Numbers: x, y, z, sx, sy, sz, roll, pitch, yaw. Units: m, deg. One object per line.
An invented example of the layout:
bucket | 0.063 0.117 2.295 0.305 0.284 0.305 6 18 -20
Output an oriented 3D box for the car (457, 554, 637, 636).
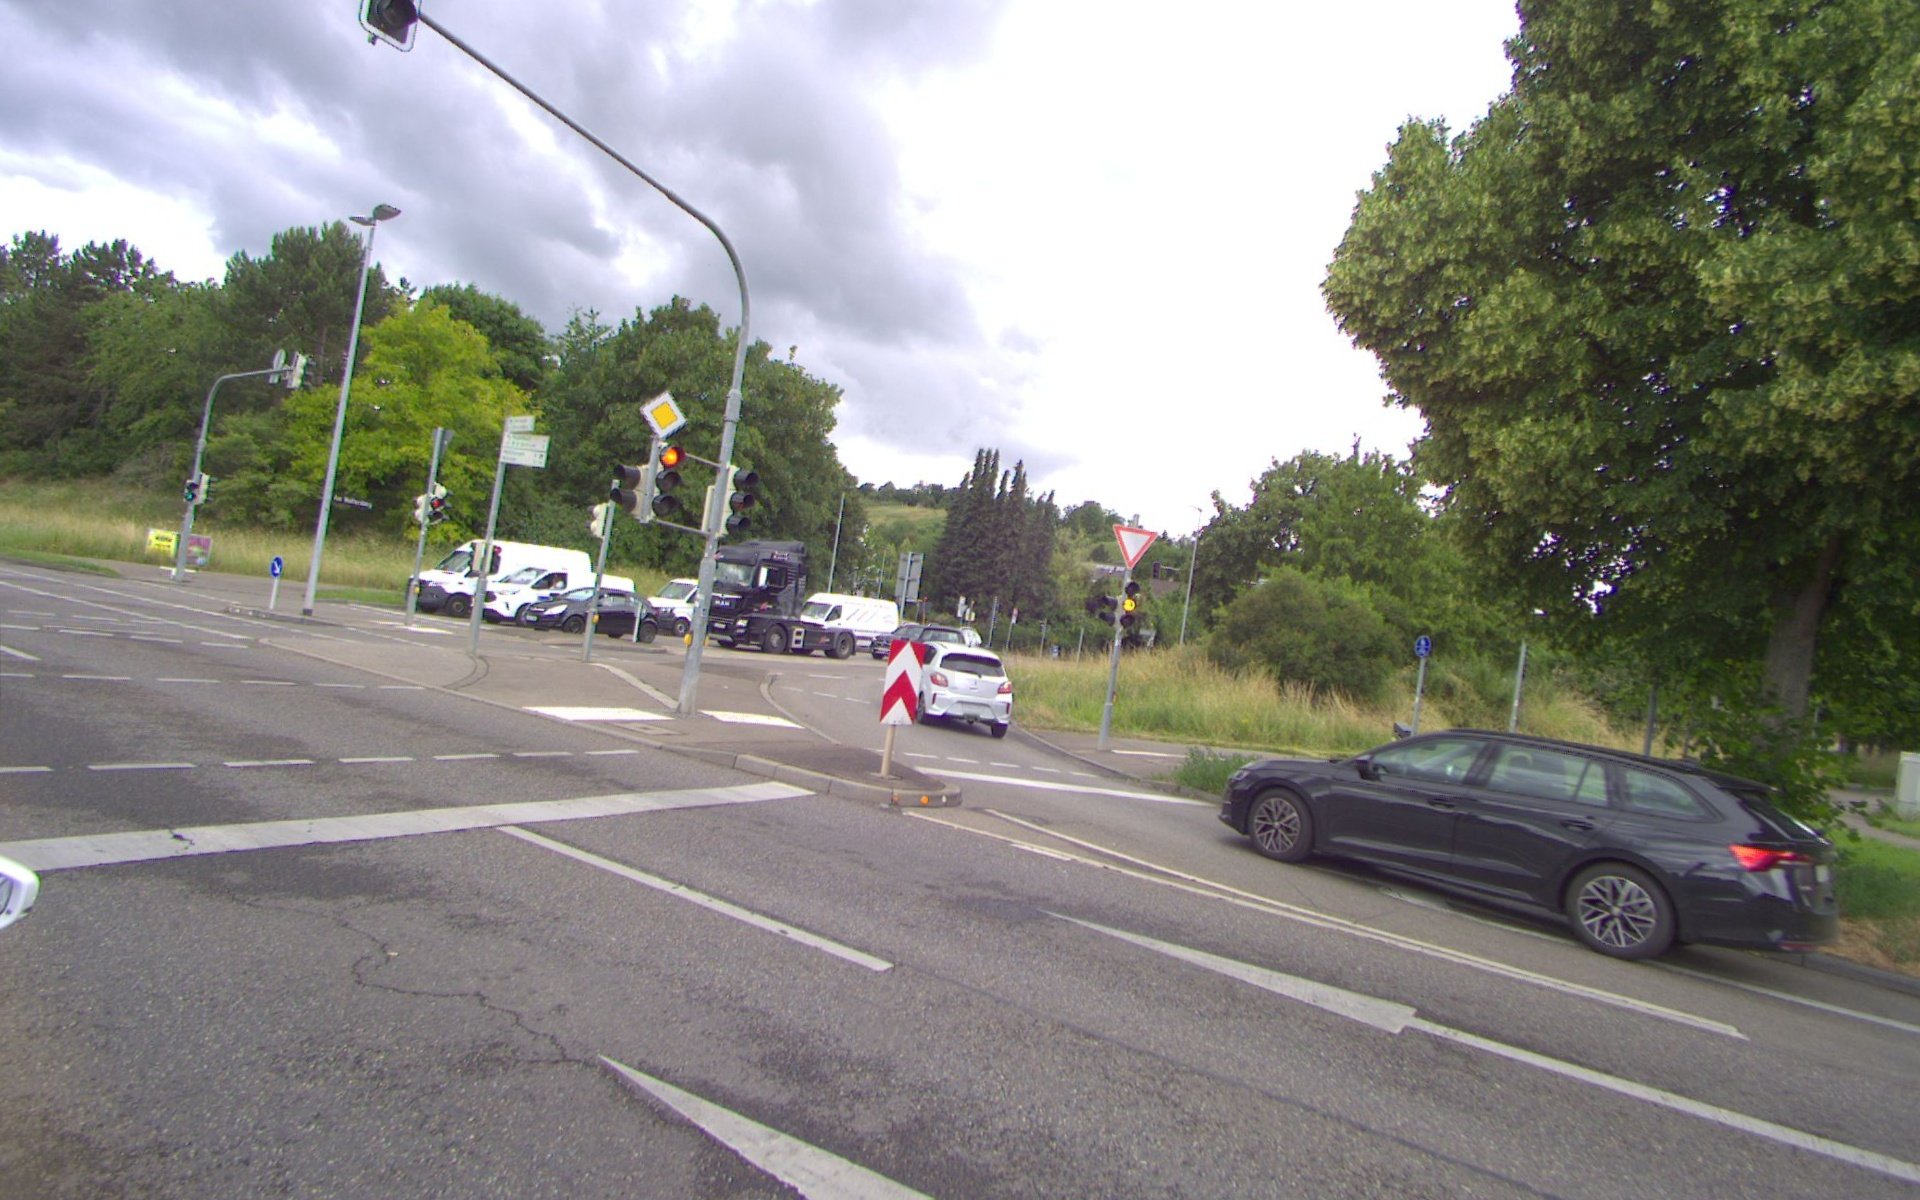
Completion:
car | -12.932 -0.094 31.815 1.999 1.918 4.862 7 -1 31

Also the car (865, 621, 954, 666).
car | -2.045 1.839 42.094 1.703 1.453 3.927 7 -1 31

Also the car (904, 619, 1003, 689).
car | -0.100 1.659 30.275 1.753 1.668 4.432 9 -2 14

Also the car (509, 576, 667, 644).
car | -10.605 0.336 28.929 1.703 1.453 3.927 7 -1 31

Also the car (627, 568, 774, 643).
car | -10.424 0.290 40.904 2.100 2.316 5.709 7 -1 32

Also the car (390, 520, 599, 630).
car | -15.335 -0.736 33.597 2.100 2.814 5.903 7 -1 32

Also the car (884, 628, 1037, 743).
car | -0.113 1.522 18.948 1.760 1.460 3.821 10 0 -15

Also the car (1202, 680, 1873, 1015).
car | 4.531 1.781 8.462 1.778 1.462 4.471 11 -3 -44

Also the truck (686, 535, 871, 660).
truck | -6.210 0.025 35.340 2.682 3.580 6.061 7 -1 32

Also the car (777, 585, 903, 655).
car | -5.665 1.053 48.619 2.160 2.640 6.509 7 -1 32
